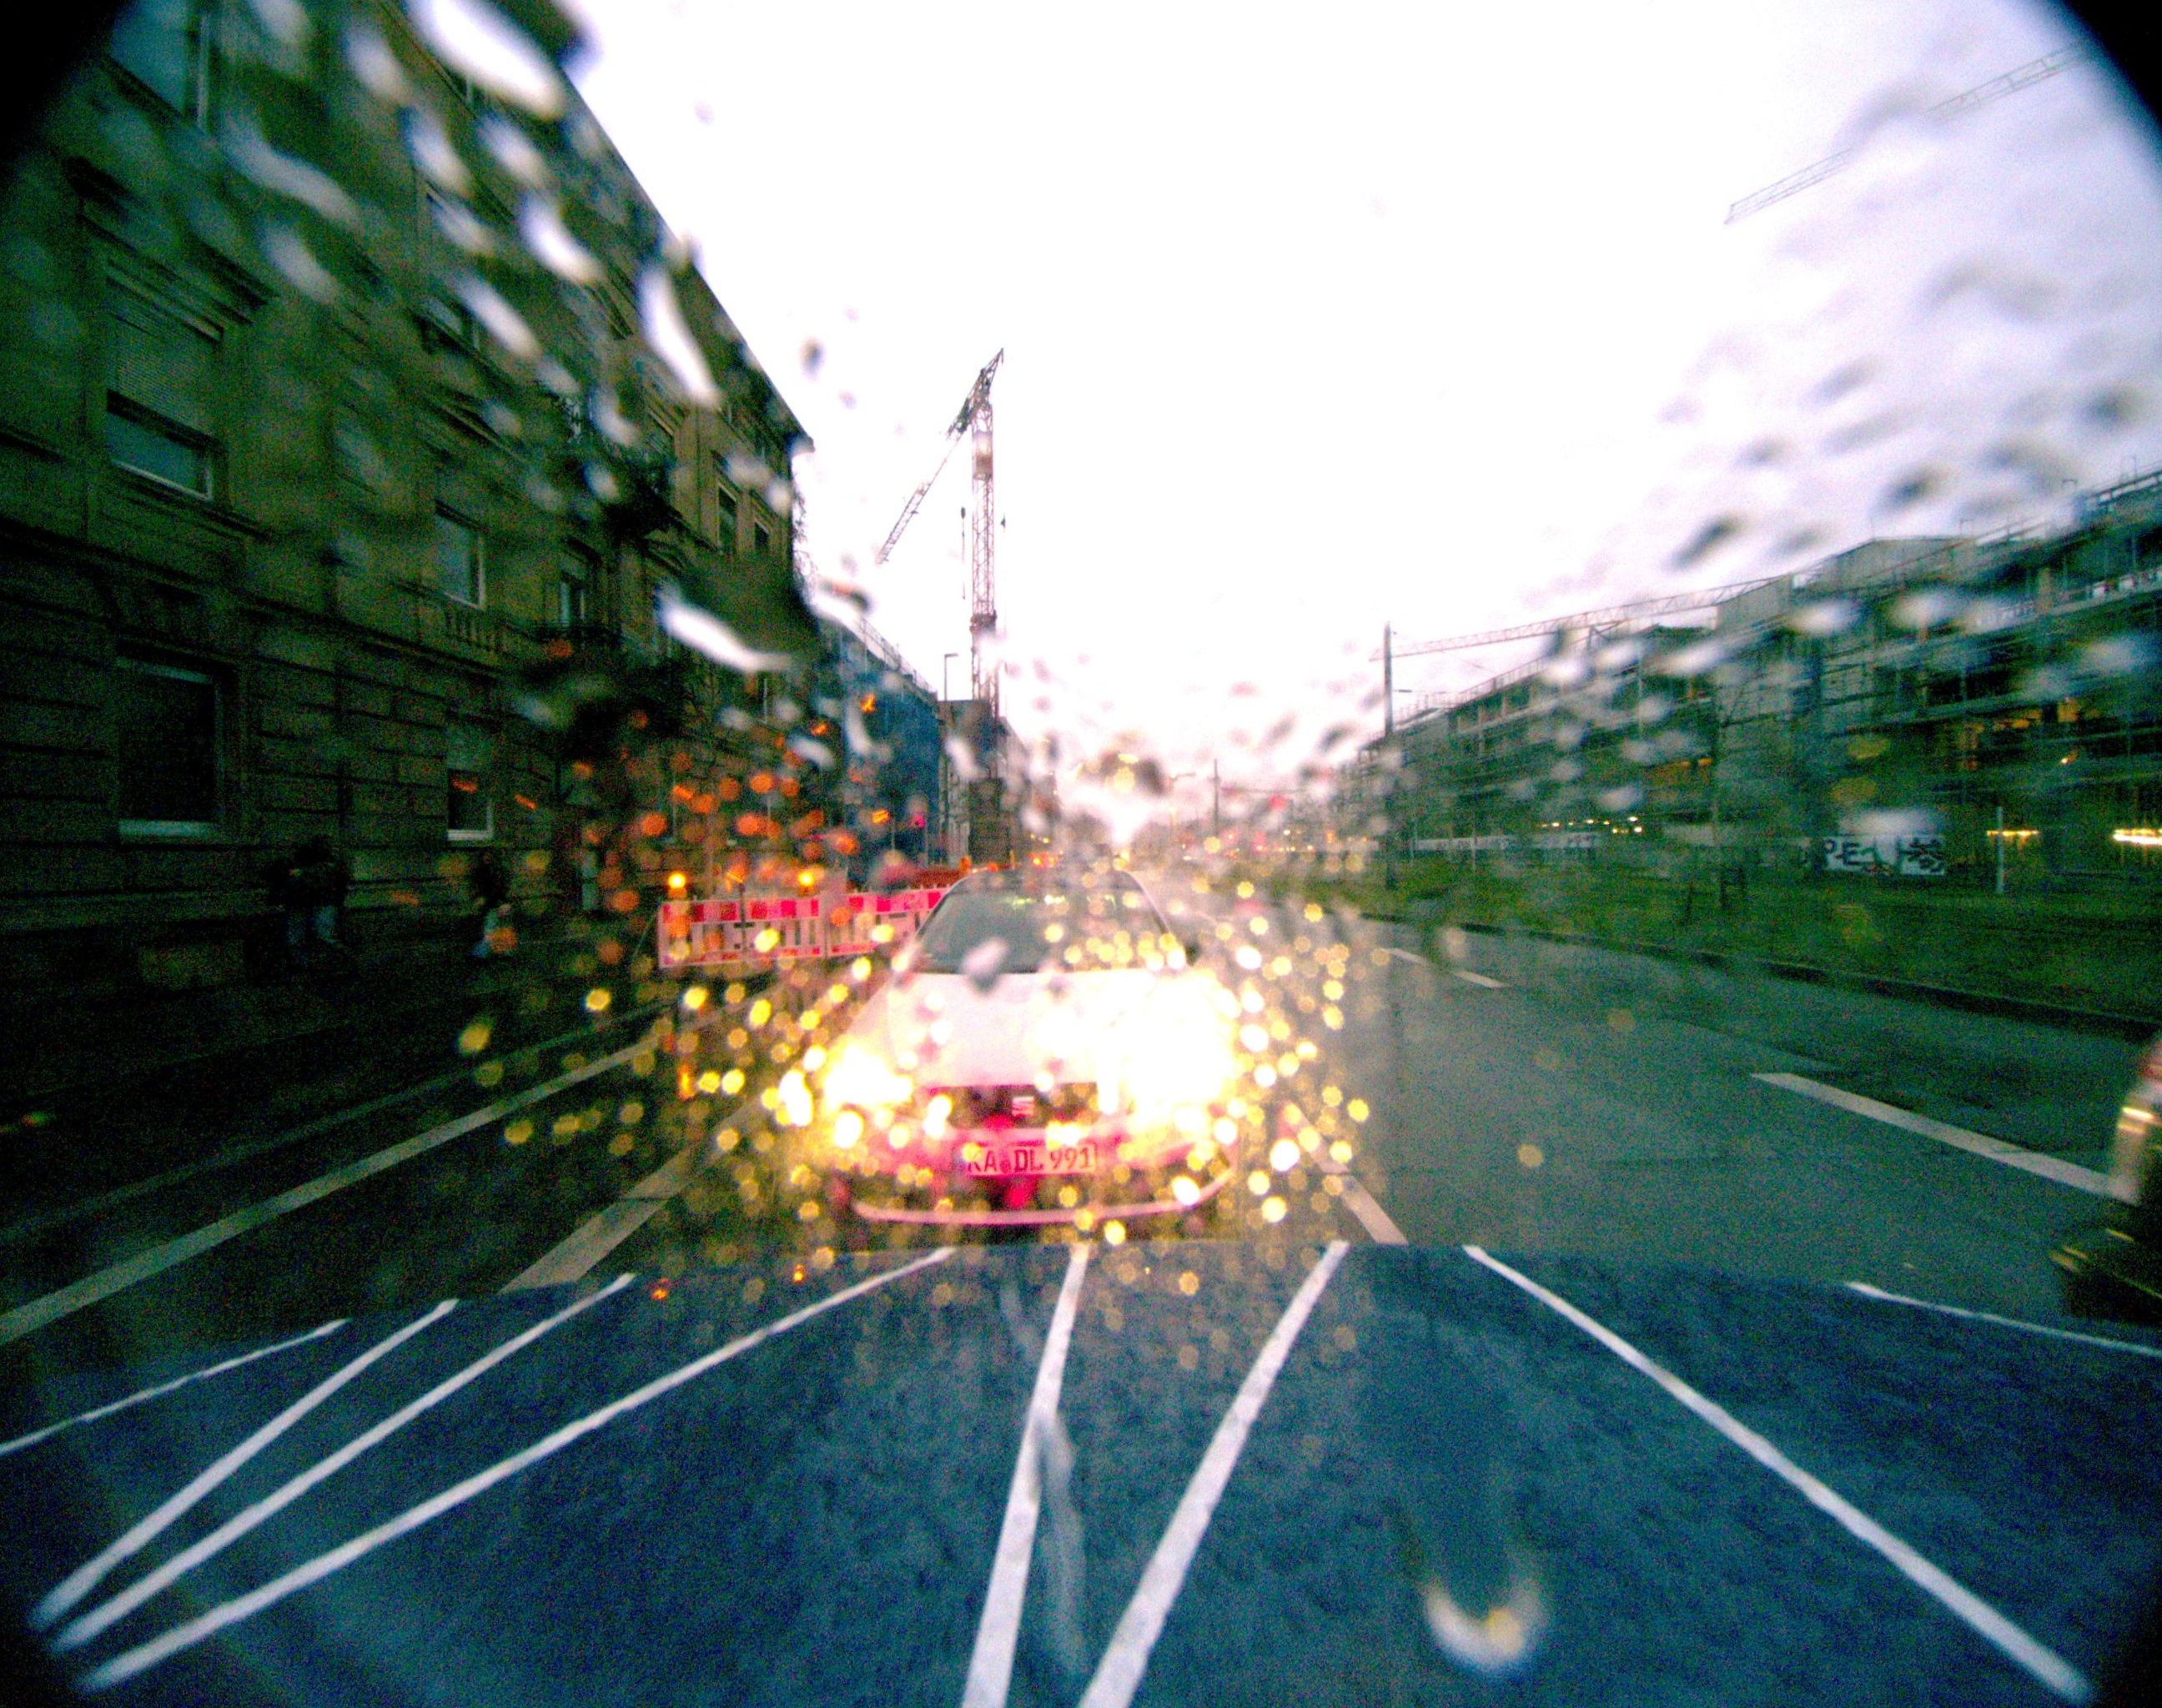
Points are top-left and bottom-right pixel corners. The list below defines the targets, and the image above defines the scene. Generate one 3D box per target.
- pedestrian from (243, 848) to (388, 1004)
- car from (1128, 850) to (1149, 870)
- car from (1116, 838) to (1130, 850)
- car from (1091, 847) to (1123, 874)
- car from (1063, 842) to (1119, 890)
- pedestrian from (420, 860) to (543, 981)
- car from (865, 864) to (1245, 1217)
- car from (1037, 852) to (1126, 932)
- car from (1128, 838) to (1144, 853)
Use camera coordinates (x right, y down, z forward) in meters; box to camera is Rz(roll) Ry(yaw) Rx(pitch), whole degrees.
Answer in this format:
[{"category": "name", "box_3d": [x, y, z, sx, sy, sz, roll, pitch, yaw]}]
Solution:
[{"category": "pedestrian", "box_3d": [-8.500, 0.768, 8.469, 0.870, 1.663, 0.707, 0, 1, 4]}, {"category": "car", "box_3d": [5.238, 0.522, 69.660, 1.768, 1.614, 3.900, -3, 1, 4]}, {"category": "car", "box_3d": [5.910, -1.384, 107.038, 1.768, 1.614, 3.900, -3, 1, 4]}, {"category": "car", "box_3d": [1.554, 0.353, 46.913, 1.769, 1.504, 3.899, -3, 1, 0]}, {"category": "car", "box_3d": [0.320, 0.365, 27.182, 1.769, 1.504, 3.899, -3, 1, 0]}, {"category": "pedestrian", "box_3d": [-7.988, 0.857, 10.173, 0.870, 1.536, 0.929, 0, 1, 1]}, {"category": "car", "box_3d": [-0.127, 0.931, 5.623, 1.769, 1.504, 3.899, -3, 1, 0]}, {"category": "car", "box_3d": [0.005, 0.786, 17.662, 1.769, 1.504, 3.899, -3, 1, 0]}, {"category": "car", "box_3d": [6.307, -0.995, 87.346, 1.768, 1.614, 3.900, -3, 1, 4]}]
